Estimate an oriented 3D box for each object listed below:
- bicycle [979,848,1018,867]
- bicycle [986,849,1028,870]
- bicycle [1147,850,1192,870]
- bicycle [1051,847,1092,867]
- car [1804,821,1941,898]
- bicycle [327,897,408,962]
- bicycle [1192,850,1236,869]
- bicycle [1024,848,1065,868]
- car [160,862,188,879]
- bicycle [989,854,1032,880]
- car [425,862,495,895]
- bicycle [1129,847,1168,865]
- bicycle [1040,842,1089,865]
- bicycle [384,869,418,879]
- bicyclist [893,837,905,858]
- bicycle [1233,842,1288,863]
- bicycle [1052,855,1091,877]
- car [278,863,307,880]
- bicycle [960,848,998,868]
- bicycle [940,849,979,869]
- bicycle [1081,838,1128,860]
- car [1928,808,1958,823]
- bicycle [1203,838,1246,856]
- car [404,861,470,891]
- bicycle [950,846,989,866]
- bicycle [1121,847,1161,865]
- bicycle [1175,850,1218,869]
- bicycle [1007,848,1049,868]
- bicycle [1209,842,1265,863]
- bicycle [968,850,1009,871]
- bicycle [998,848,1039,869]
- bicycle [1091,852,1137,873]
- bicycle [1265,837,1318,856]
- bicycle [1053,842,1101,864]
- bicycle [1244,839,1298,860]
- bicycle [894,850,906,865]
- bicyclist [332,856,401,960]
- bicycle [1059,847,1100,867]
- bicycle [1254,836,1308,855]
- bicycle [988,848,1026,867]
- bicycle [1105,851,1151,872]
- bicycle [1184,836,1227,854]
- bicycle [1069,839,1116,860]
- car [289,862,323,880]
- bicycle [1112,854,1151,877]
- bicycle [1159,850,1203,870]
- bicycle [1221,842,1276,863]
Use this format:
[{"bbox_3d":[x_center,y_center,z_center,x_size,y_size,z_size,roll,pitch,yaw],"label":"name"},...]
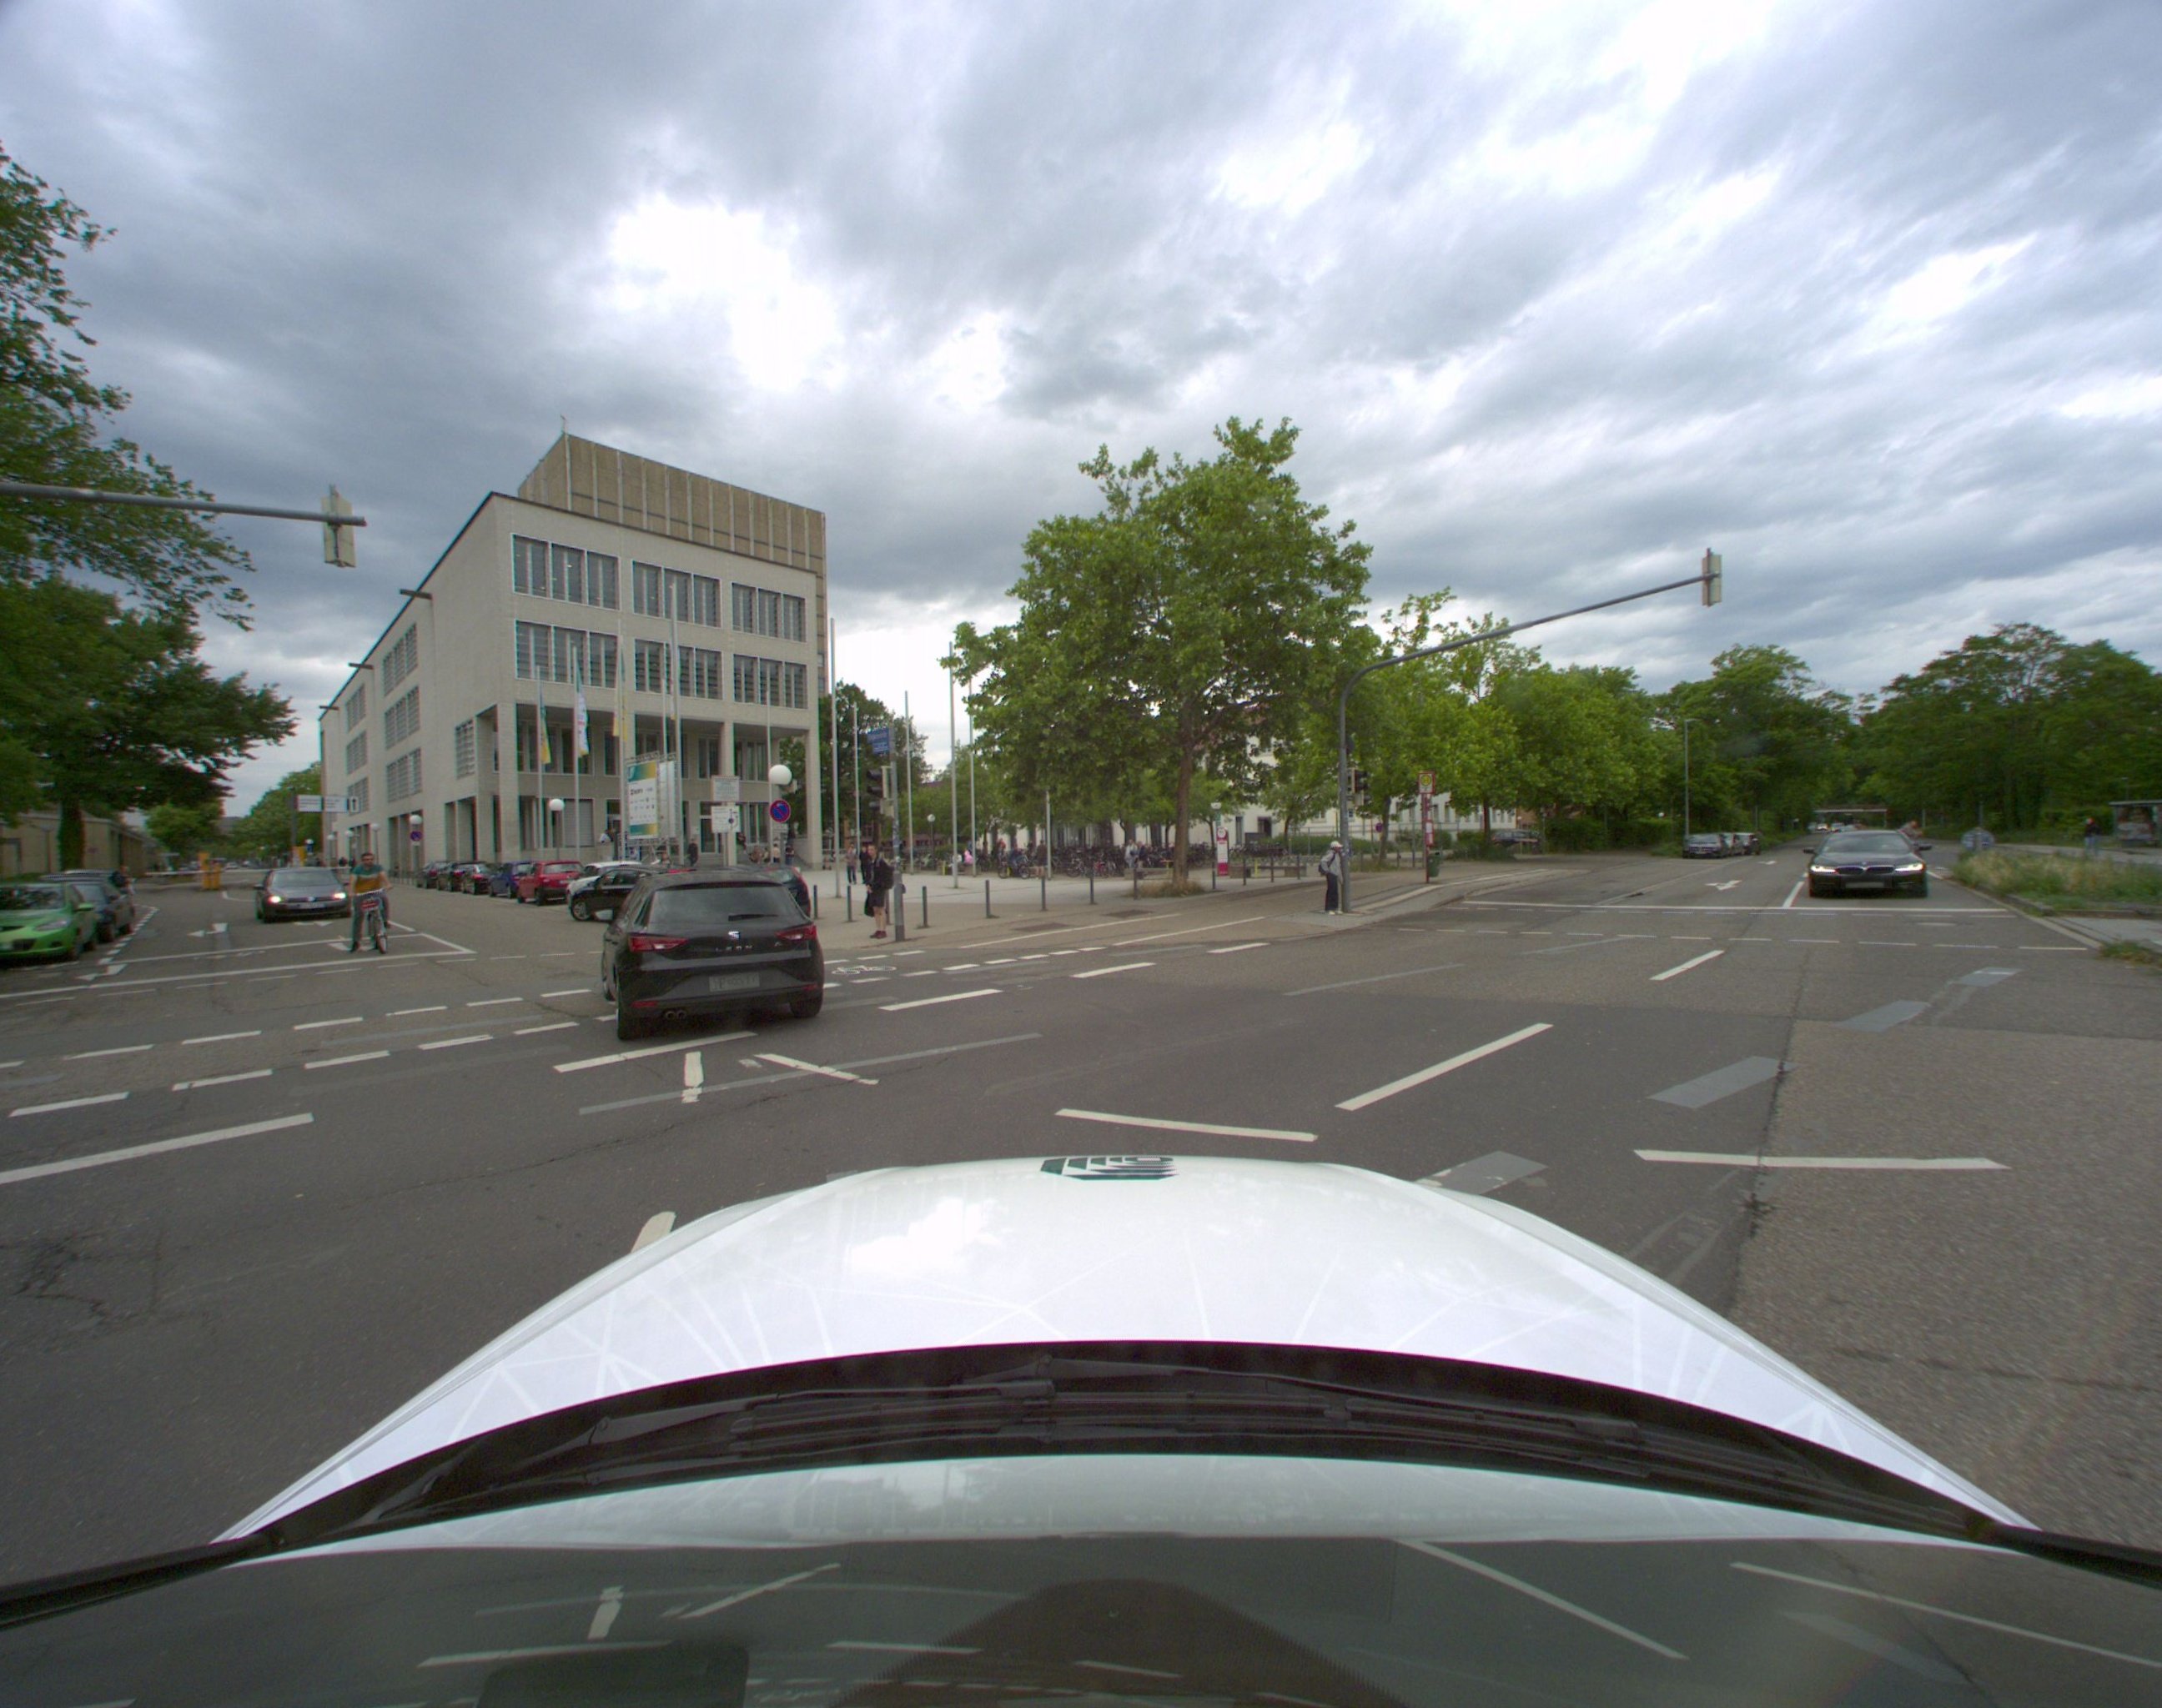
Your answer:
[{"bbox_3d":[-5.520,0.207,54.367,3.070,1.170,0.752,3,2,45],"label":"bicycle"},{"bbox_3d":[-4.588,0.349,50.030,3.070,1.170,0.752,3,2,45],"label":"bicycle"},{"bbox_3d":[5.735,0.397,52.801,3.070,1.170,0.752,3,2,45],"label":"bicycle"},{"bbox_3d":[-0.668,0.191,54.257,3.069,1.170,0.752,2,2,44],"label":"bicycle"},{"bbox_3d":[17.926,0.088,18.613,1.974,1.489,4.319,-4,-1,42],"label":"car"},{"bbox_3d":[-12.848,1.323,14.656,1.833,1.037,0.663,-1,1,36],"label":"bicycle"},{"bbox_3d":[9.215,0.347,56.536,3.070,1.170,0.752,3,2,45],"label":"bicycle"},{"bbox_3d":[-2.346,0.217,52.417,3.070,1.170,0.752,3,2,45],"label":"bicycle"},{"bbox_3d":[-89.761,1.656,80.598,3.949,1.601,1.787,-1,1,42],"label":"car"},{"bbox_3d":[-3.415,0.602,39.076,2.383,1.170,0.460,2,2,38],"label":"bicycle"},{"bbox_3d":[-30.246,1.152,39.635,4.463,1.443,1.835,-1,3,42],"label":"car"},{"bbox_3d":[4.924,0.133,59.459,3.069,1.170,0.752,2,2,44],"label":"bicycle"},{"bbox_3d":[-0.945,-0.028,45.277,3.070,1.170,0.752,3,2,45],"label":"bicycle"},{"bbox_3d":[-51.999,1.535,62.294,0.486,0.699,1.915,2,2,39],"label":"bicycle"},{"bbox_3d":[-14.158,-0.497,63.532,0.874,1.641,0.864,-1,1,-12],"label":"bicyclist"},{"bbox_3d":[11.314,-0.120,51.455,1.061,1.170,3.354,0,2,-41],"label":"bicycle"},{"bbox_3d":[-0.466,0.572,40.208,1.911,1.049,0.460,-1,2,29],"label":"bicycle"},{"bbox_3d":[-87.435,1.920,90.274,4.372,1.781,2.013,-1,3,42],"label":"car"},{"bbox_3d":[-6.647,0.232,52.853,3.070,1.170,0.752,3,2,45],"label":"bicycle"},{"bbox_3d":[-7.738,0.280,51.704,3.070,1.170,0.752,3,2,45],"label":"bicycle"},{"bbox_3d":[1.333,-0.302,47.807,3.070,1.170,0.752,3,2,45],"label":"bicycle"},{"bbox_3d":[97.165,-4.350,91.866,1.794,1.618,4.026,0,1,39],"label":"car"},{"bbox_3d":[10.120,-0.516,57.525,3.070,1.170,0.752,3,2,45],"label":"bicycle"},{"bbox_3d":[-34.486,1.161,43.538,4.860,1.452,2.012,-1,1,43],"label":"car"},{"bbox_3d":[-7.180,0.128,52.268,3.070,1.170,0.752,2,2,45],"label":"bicycle"},{"bbox_3d":[4.328,0.142,58.816,3.069,1.170,0.752,2,2,44],"label":"bicycle"},{"bbox_3d":[7.789,0.366,55.058,3.070,1.170,0.752,3,2,45],"label":"bicycle"},{"bbox_3d":[-3.336,0.236,51.202,3.070,1.170,0.752,3,2,45],"label":"bicycle"},{"bbox_3d":[9.458,-0.097,49.579,1.061,1.170,3.354,0,2,-41],"label":"bicycle"},{"bbox_3d":[-5.562,0.364,48.927,3.070,1.170,0.626,3,2,45],"label":"bicycle"},{"bbox_3d":[-3.903,0.242,50.655,3.070,1.170,0.752,3,2,45],"label":"bicycle"},{"bbox_3d":[1.965,0.494,48.799,3.070,1.170,0.752,3,2,45],"label":"bicycle"},{"bbox_3d":[13.847,-0.518,53.722,1.061,1.170,3.355,1,1,-40],"label":"bicycle"},{"bbox_3d":[-0.227,-0.055,46.210,3.069,1.170,0.752,-1,1,45],"label":"bicycle"},{"bbox_3d":[12.134,-0.276,52.206,1.061,1.170,3.353,-2,0,-41],"label":"bicycle"},{"bbox_3d":[-14.143,0.242,63.550,0.874,1.093,1.794,-1,1,-12],"label":"bicycle"},{"bbox_3d":[-12.863,0.938,14.658,0.971,1.779,0.663,-1,1,36],"label":"bicyclist"},{"bbox_3d":[-0.114,0.184,54.813,3.069,1.170,0.752,2,2,44],"label":"bicycle"},{"bbox_3d":[12.983,-0.555,52.957,1.061,1.170,3.353,-2,1,-41],"label":"bicycle"},{"bbox_3d":[-5.040,0.195,55.039,3.070,1.170,0.752,3,2,45],"label":"bicycle"},{"bbox_3d":[2.842,0.443,49.586,3.070,1.170,0.752,3,2,45],"label":"bicycle"},{"bbox_3d":[8.501,-0.638,55.758,3.070,1.170,0.752,3,2,45],"label":"bicycle"},{"bbox_3d":[0.639,-0.228,47.036,3.069,1.170,0.752,-1,1,45],"label":"bicycle"},{"bbox_3d":[-75.151,1.640,78.915,4.371,1.622,2.013,-2,1,42],"label":"car"},{"bbox_3d":[2.389,0.552,38.847,1.910,1.049,0.460,0,2,38],"label":"bicycle"},{"bbox_3d":[6.560,0.386,53.677,3.070,1.170,0.752,3,2,45],"label":"bicycle"},{"bbox_3d":[10.357,-0.111,50.595,1.061,1.170,3.354,0,2,-41],"label":"bicycle"}]
